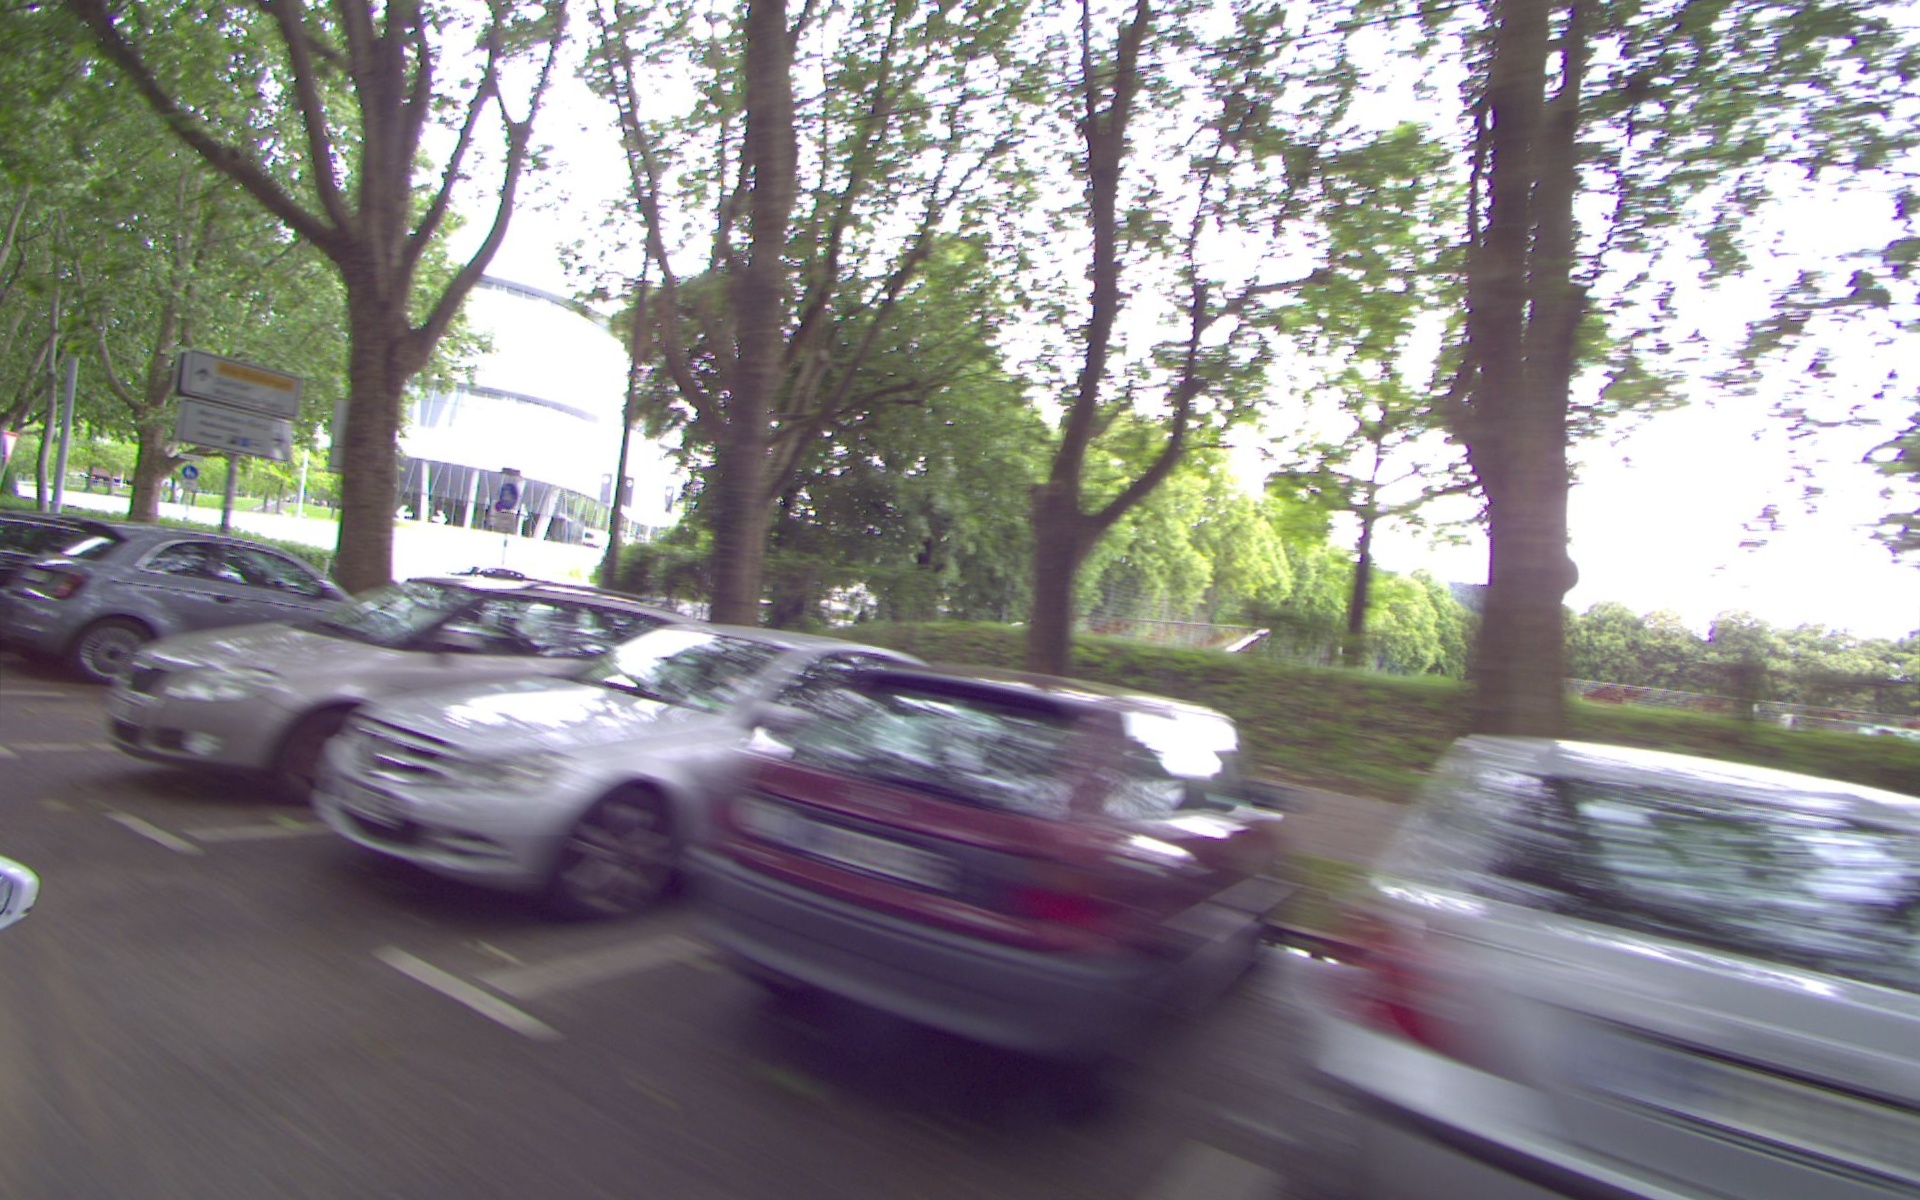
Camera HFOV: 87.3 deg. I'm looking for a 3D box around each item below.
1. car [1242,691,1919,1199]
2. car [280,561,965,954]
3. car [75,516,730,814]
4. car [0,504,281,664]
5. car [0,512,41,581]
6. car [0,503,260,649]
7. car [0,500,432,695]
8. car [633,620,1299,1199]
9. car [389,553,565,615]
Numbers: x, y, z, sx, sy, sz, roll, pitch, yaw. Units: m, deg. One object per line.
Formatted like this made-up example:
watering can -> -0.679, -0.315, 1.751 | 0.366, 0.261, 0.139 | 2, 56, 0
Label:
car -> 2.289, 1.195, 3.185 | 1.951, 1.440, 3.657 | 7, -3, 28
car -> -1.595, 0.796, 5.808 | 1.494, 1.440, 3.431 | 7, -3, 33
car -> -3.529, 0.497, 7.104 | 1.493, 1.440, 3.689 | 7, -3, 29
car -> -10.029, -0.240, 11.005 | 1.529, 1.468, 3.929 | 7, -3, 30
car -> -22.518, -1.536, 20.625 | 1.963, 1.417, 4.957 | 7, -4, 21
car -> -11.836, -0.437, 12.514 | 1.893, 1.467, 4.674 | 7, -4, 30
car -> -7.700, 0.070, 10.517 | 1.529, 1.525, 3.434 | 7, -3, 30
car -> 0.419, 1.044, 4.592 | 1.493, 1.440, 3.436 | 7, -3, 28
car -> -15.912, -0.484, 33.423 | 1.966, 1.419, 4.942 | 7, -1, 30
